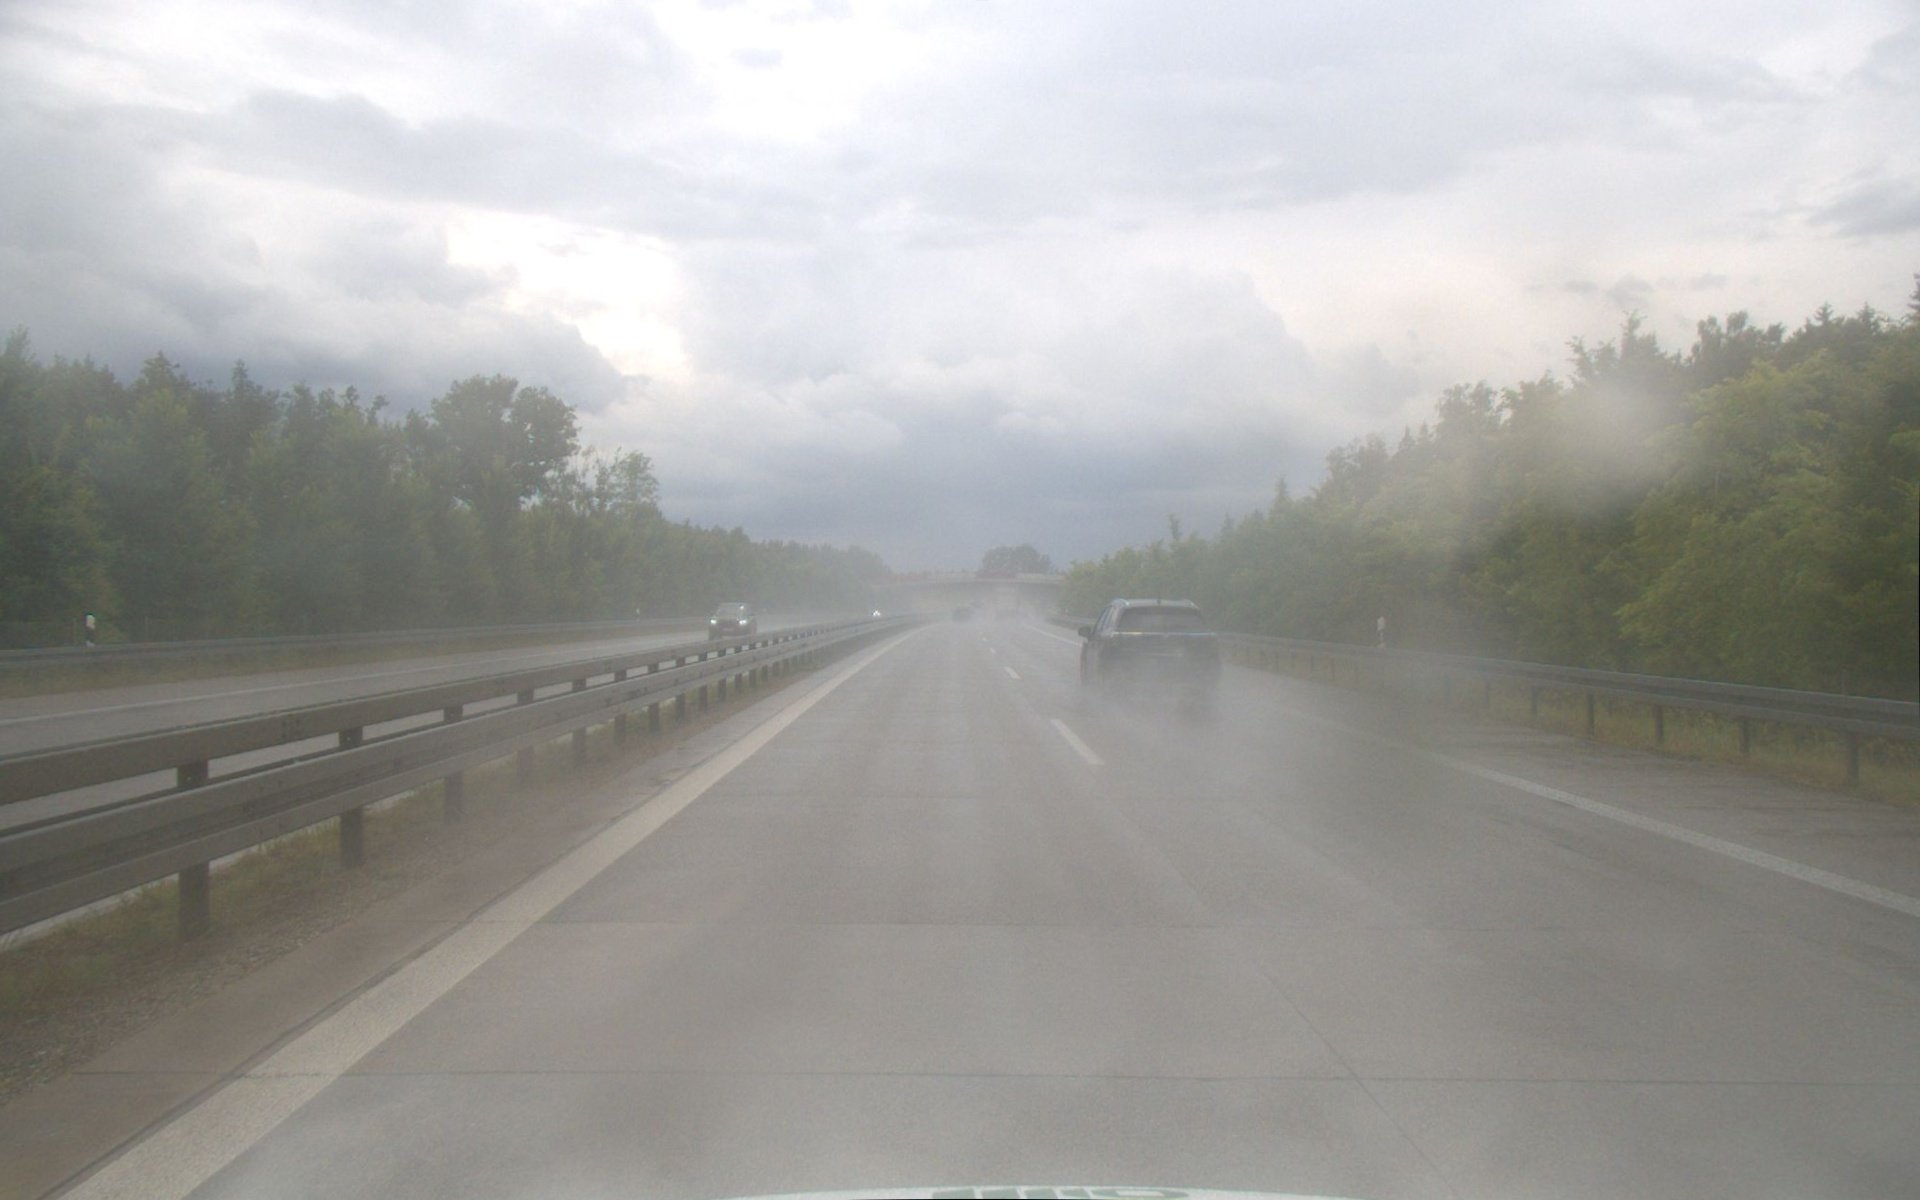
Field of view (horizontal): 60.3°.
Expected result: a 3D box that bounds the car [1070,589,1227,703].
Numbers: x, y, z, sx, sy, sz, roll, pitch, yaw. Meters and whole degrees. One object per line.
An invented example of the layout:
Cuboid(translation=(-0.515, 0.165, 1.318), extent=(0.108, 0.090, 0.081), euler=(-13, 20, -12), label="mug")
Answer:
Cuboid(translation=(2.809, 0.686, 25.408), extent=(1.856, 1.604, 3.630), euler=(1, -1, -2), label="car")

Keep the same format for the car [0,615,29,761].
Cuboid(translation=(-10.922, 0.882, 15.688), extent=(1.863, 1.525, 4.219), euler=(1, -1, -2), label="car")

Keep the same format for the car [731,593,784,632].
Cuboid(translation=(-9.281, 0.557, 76.032), extent=(1.953, 1.626, 4.789), euler=(-2, 1, -2), label="car")

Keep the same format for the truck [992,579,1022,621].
Cuboid(translation=(5.265, 0.023, 184.647), extent=(3.176, 4.515, 8.247), euler=(0, -1, 2), label="truck")
